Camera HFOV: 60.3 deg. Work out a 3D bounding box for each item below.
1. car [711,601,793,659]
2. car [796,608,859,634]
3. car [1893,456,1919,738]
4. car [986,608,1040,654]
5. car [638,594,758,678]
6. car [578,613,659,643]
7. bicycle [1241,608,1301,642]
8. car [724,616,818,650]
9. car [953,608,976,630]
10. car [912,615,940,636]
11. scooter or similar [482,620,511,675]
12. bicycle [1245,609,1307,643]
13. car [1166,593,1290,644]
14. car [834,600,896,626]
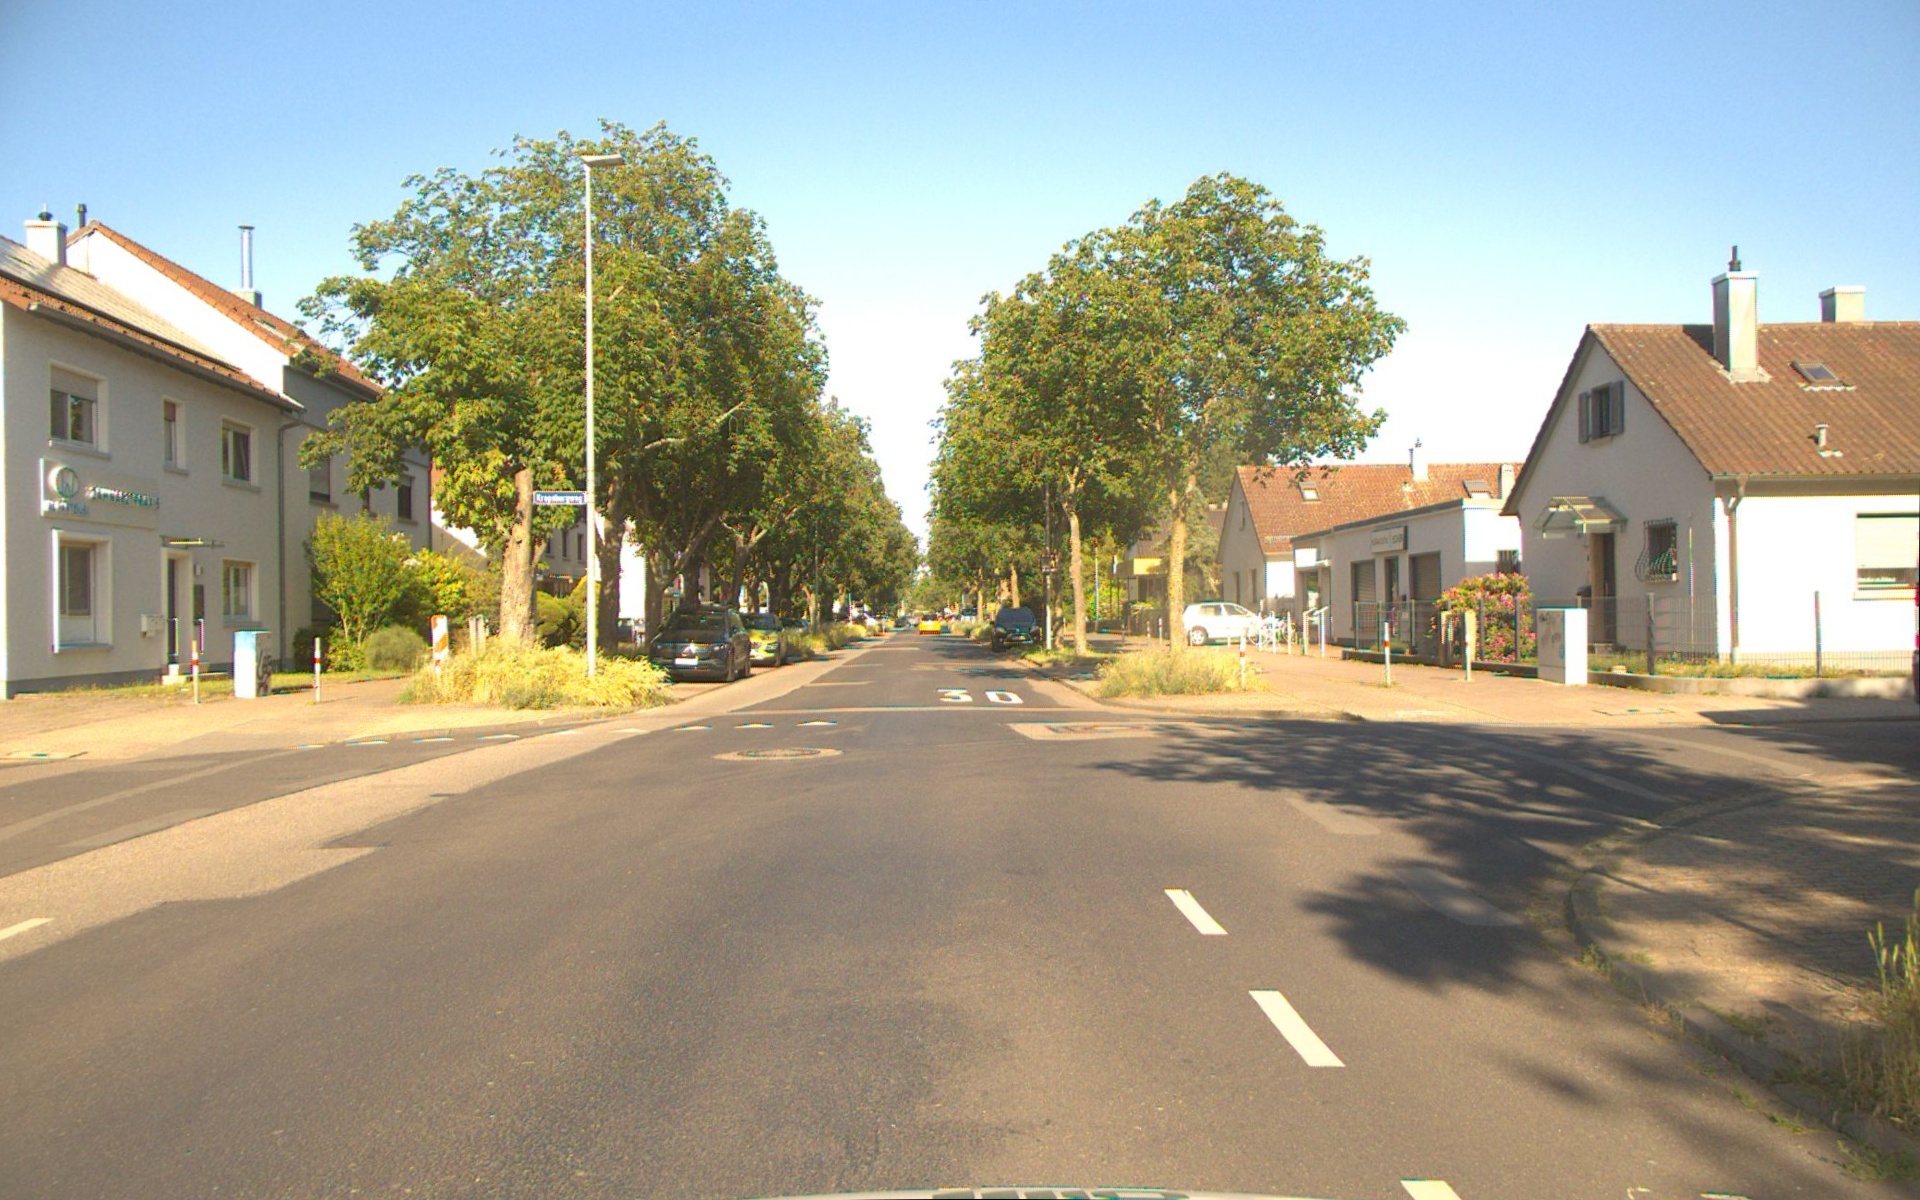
[{"bbox_3d":[-6.149,0.917,49.383,1.899,1.637,4.383,0,-1,0],"label":"car"},{"bbox_3d":[-9.558,1.531,119.327,4.458,1.796,1.998,0,1,-6],"label":"car"},{"bbox_3d":[11.588,-0.080,14.590,5.484,2.583,2.264,-1,0,-4],"label":"car"},{"bbox_3d":[2.069,1.229,65.373,1.816,1.654,4.468,-2,-1,-1],"label":"car"},{"bbox_3d":[-5.846,0.820,37.463,1.913,1.757,4.874,0,-1,0],"label":"car"},{"bbox_3d":[-20.222,1.657,98.053,4.466,1.646,1.998,0,1,-5],"label":"car"},{"bbox_3d":[10.395,0.825,55.300,1.885,1.016,0.576,-3,1,-3],"label":"bicycle"},{"bbox_3d":[-9.303,1.621,81.630,4.462,1.537,1.841,0,1,-2],"label":"car"},{"bbox_3d":[0.330,1.592,138.464,1.864,1.805,4.300,0,-1,-1],"label":"car"},{"bbox_3d":[-2.648,1.966,127.865,1.851,1.505,3.884,1,-1,-5],"label":"car"},{"bbox_3d":[-8.861,0.891,31.628,0.329,1.018,0.996,-1,0,-5],"label":"scooter or similar"},{"bbox_3d":[10.372,0.860,54.311,1.919,1.016,0.576,-3,1,-3],"label":"bicycle"},{"bbox_3d":[9.261,0.611,57.326,3.907,1.514,1.901,-3,1,-3],"label":"car"},{"bbox_3d":[-8.436,1.155,147.371,5.388,2.287,2.515,0,1,-3],"label":"car"}]
